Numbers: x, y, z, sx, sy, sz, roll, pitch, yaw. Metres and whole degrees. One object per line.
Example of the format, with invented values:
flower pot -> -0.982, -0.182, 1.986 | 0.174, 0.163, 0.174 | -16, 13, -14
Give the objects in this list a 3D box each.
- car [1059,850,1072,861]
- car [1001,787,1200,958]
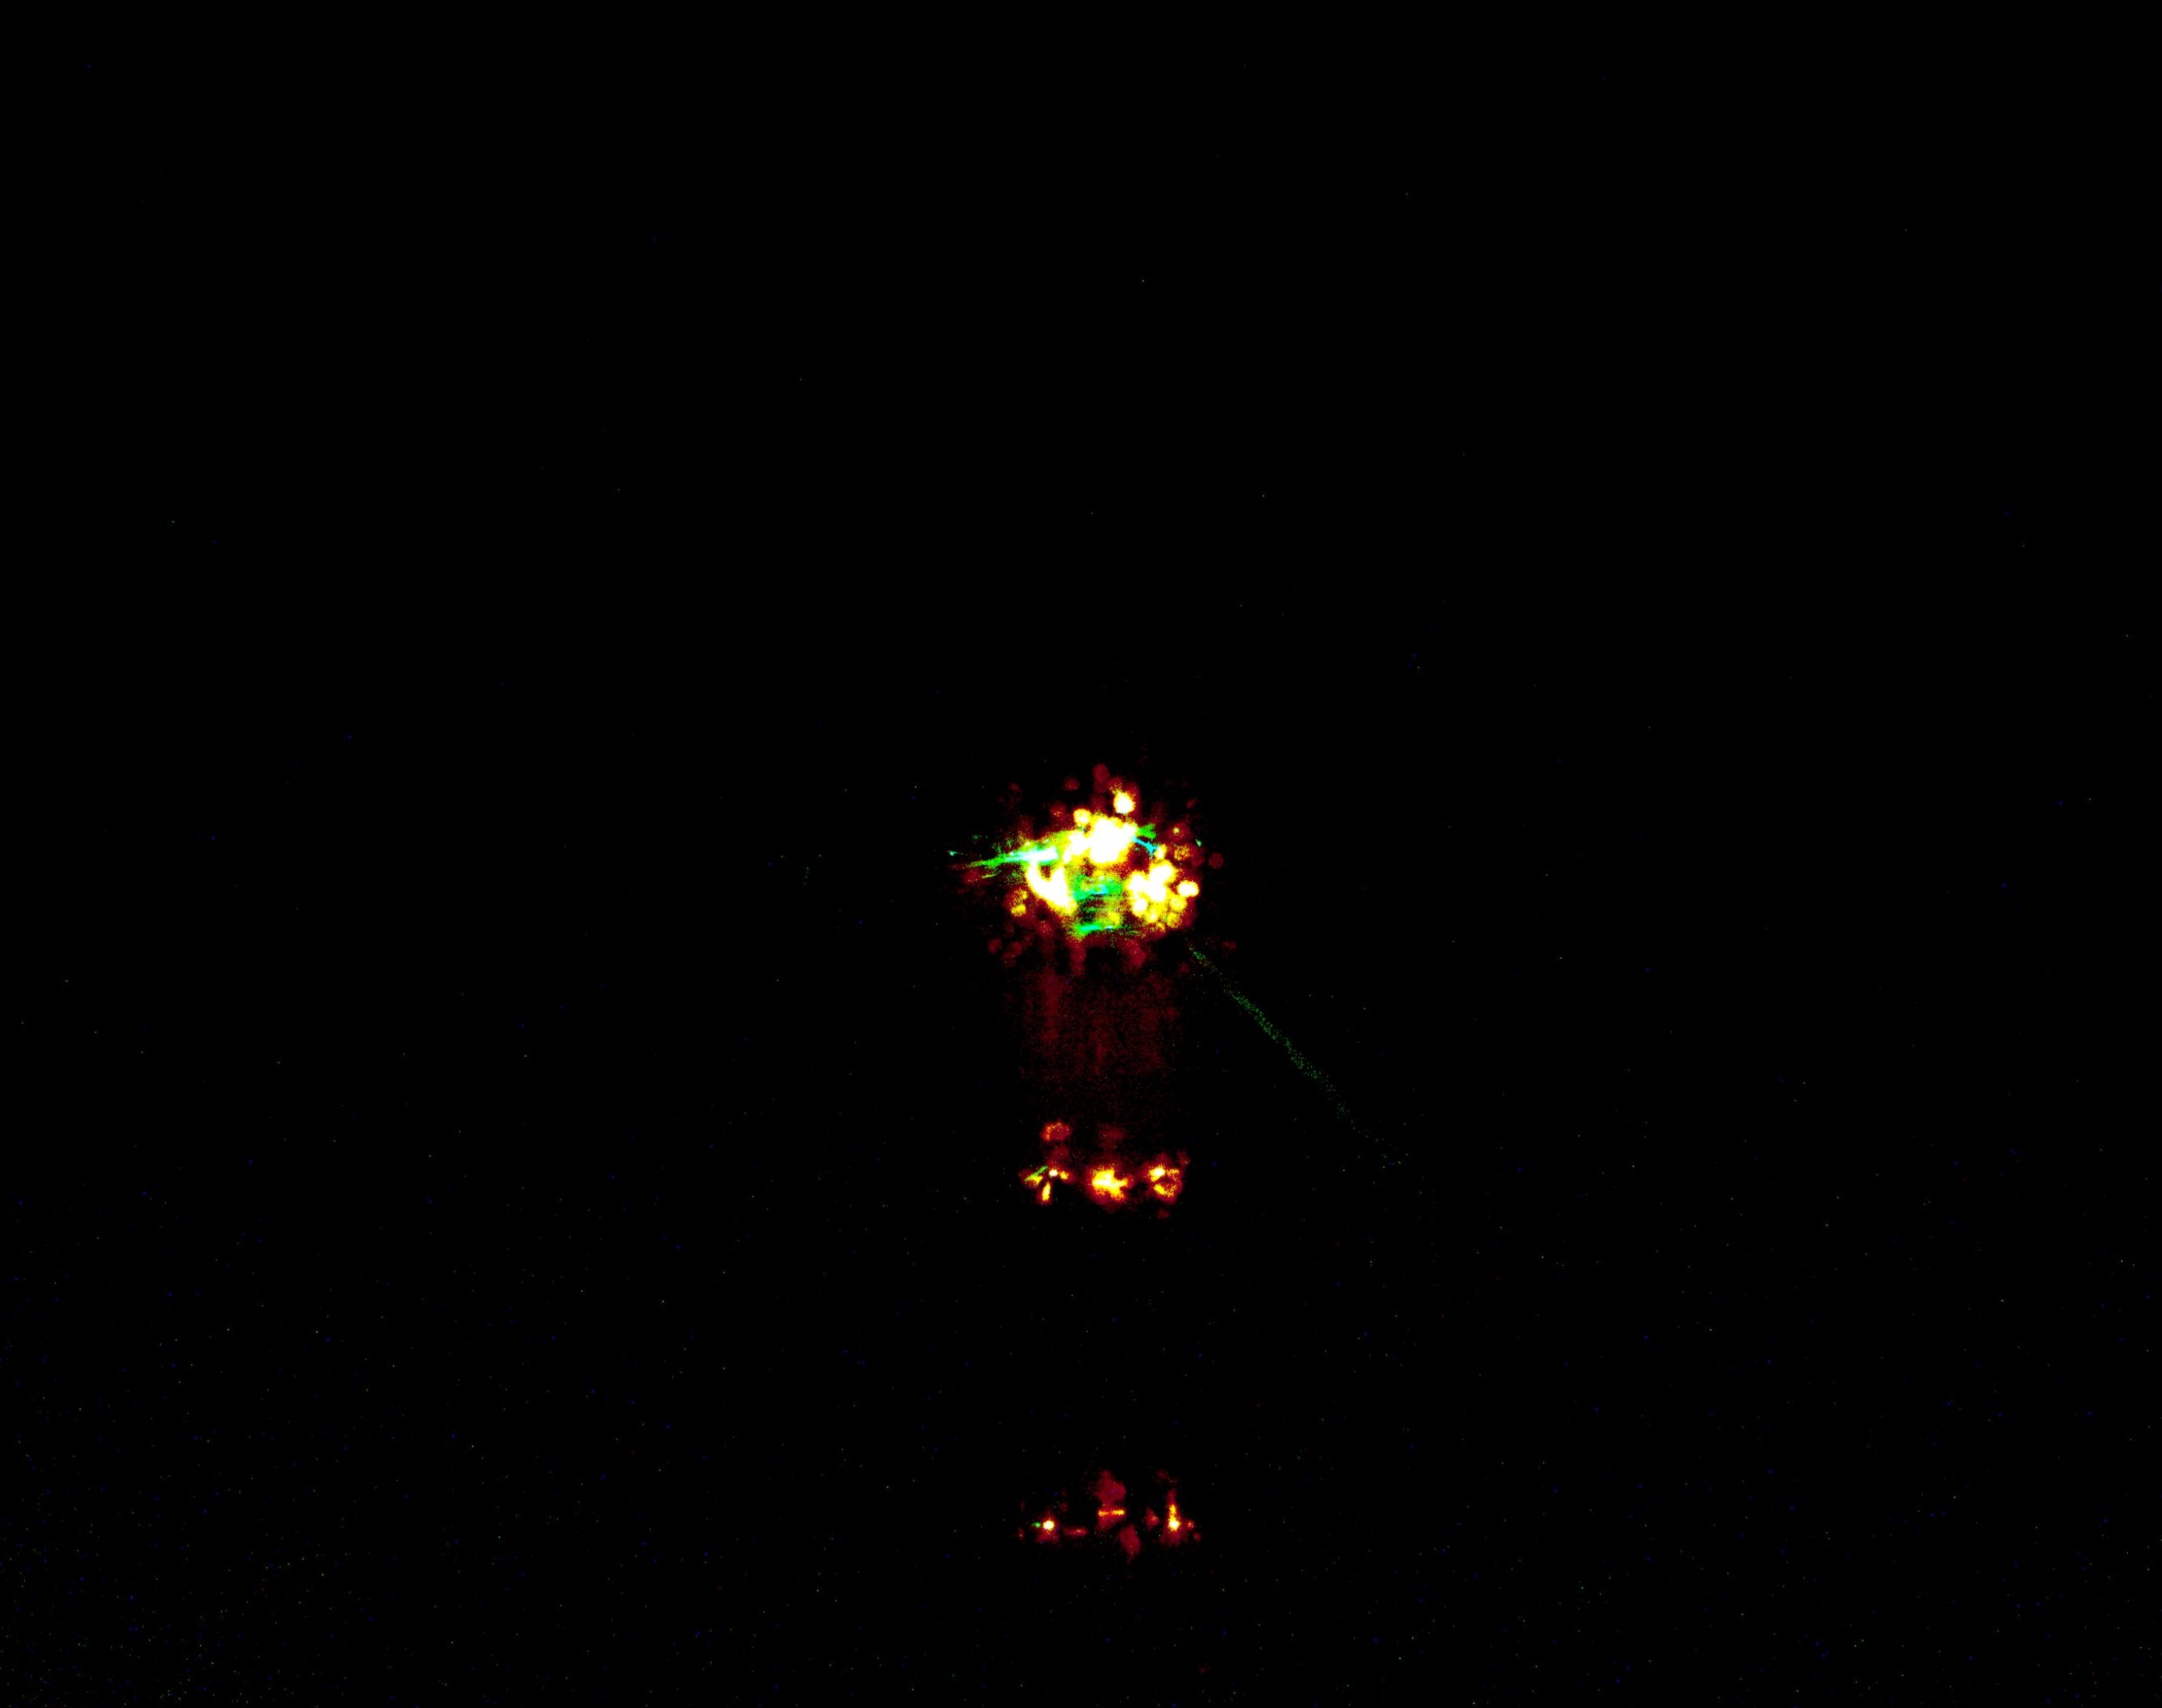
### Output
car -> -2.214, 0.209, 118.245 | 1.537, 1.510, 3.883 | -1, 0, 3
car -> 0.319, 0.225, 14.308 | 2.706, 2.307, 6.101 | -1, 0, 1
